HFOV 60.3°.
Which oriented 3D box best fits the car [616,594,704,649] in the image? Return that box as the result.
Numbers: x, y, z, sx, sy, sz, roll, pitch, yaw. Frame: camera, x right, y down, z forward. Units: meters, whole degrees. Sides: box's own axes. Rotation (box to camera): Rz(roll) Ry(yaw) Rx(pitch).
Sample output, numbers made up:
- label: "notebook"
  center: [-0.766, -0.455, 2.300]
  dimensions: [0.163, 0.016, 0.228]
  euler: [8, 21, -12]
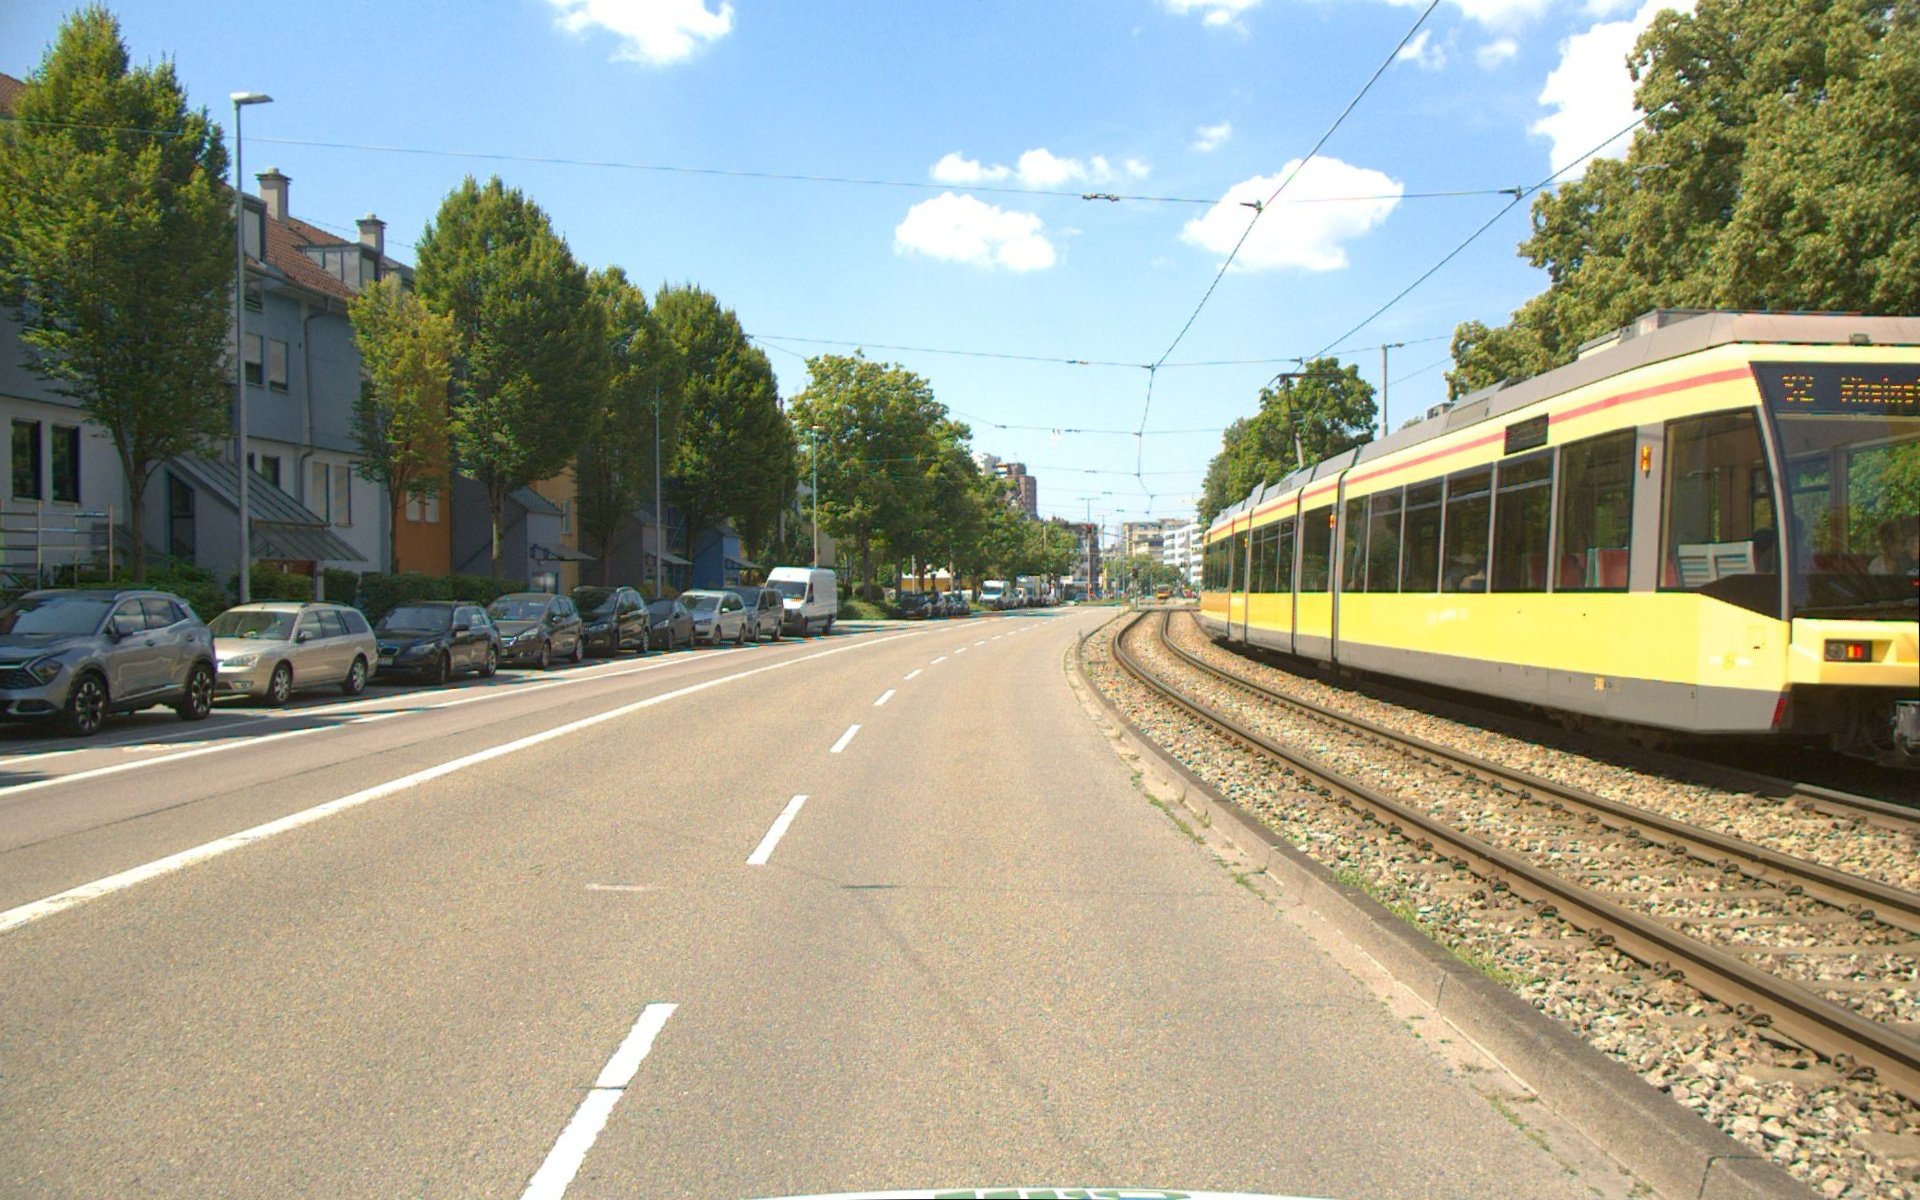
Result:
- label: "car"
  center: [-8.795, 0.596, 48.781]
  dimensions: [1.565, 1.496, 4.090]
  euler: [-1, 1, 4]

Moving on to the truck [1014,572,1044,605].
- label: "truck"
  center: [7.236, -1.199, 173.323]
  dimensions: [2.111, 3.266, 7.088]
  euler: [2, 1, 10]

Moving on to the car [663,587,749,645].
- label: "car"
  center: [-8.181, 0.480, 53.741]
  dimensions: [1.680, 1.783, 4.907]
  euler: [-1, 1, 4]

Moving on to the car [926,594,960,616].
- label: "car"
  center: [-1.148, 0.299, 111.210]
  dimensions: [1.737, 1.397, 4.700]
  euler: [1, 0, 6]

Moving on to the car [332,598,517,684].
- label: "car"
  center: [-10.196, 0.723, 31.899]
  dimensions: [1.705, 1.472, 4.966]
  euler: [1, 0, 3]

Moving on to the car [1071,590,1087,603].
- label: "car"
  center: [14.451, -0.456, 200.818]
  dimensions: [1.737, 1.485, 4.198]
  euler: [-2, 0, 6]

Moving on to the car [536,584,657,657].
- label: "car"
  center: [-9.355, 0.483, 42.991]
  dimensions: [1.714, 1.746, 4.891]
  euler: [-1, 1, 4]

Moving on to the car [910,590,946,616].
- label: "car"
  center: [-2.011, 0.192, 105.857]
  dimensions: [1.737, 1.632, 4.640]
  euler: [1, 0, 6]

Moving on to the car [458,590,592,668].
- label: "car"
  center: [-9.853, 0.611, 37.795]
  dimensions: [1.620, 1.645, 4.288]
  euler: [-1, 1, 4]

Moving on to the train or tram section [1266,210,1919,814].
- label: "train or tram section"
  center: [6.641, -0.616, 19.489]
  dimensions: [2.883, 3.756, 18.391]
  euler: [0, 0, 1]

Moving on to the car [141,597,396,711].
- label: "car"
  center: [-10.621, 0.762, 25.839]
  dimensions: [1.621, 1.534, 4.899]
  euler: [-1, 1, 4]

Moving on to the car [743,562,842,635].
- label: "car"
  center: [-6.767, -0.091, 67.755]
  dimensions: [2.274, 2.697, 7.041]
  euler: [3, 1, 8]

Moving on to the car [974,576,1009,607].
- label: "car"
  center: [2.794, -0.751, 145.386]
  dimensions: [2.111, 2.530, 6.198]
  euler: [2, 1, 10]

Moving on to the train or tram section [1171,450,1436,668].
- label: "train or tram section"
  center: [7.234, -0.787, 38.745]
  dimensions: [2.882, 3.756, 20.291]
  euler: [0, 0, 3]

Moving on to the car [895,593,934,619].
- label: "car"
  center: [-2.671, 0.343, 98.034]
  dimensions: [1.737, 1.481, 4.808]
  euler: [0, 0, 6]

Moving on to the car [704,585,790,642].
- label: "car"
  center: [-7.560, 0.433, 59.236]
  dimensions: [1.768, 1.928, 5.366]
  euler: [-1, 1, 7]

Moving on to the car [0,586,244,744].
- label: "car"
  center: [-10.641, 0.681, 20.159]
  dimensions: [1.621, 1.637, 4.689]
  euler: [2, 1, 2]

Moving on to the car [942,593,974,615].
- label: "car"
  center: [-0.150, 0.273, 117.717]
  dimensions: [1.737, 1.506, 4.051]
  euler: [1, 0, 7]
